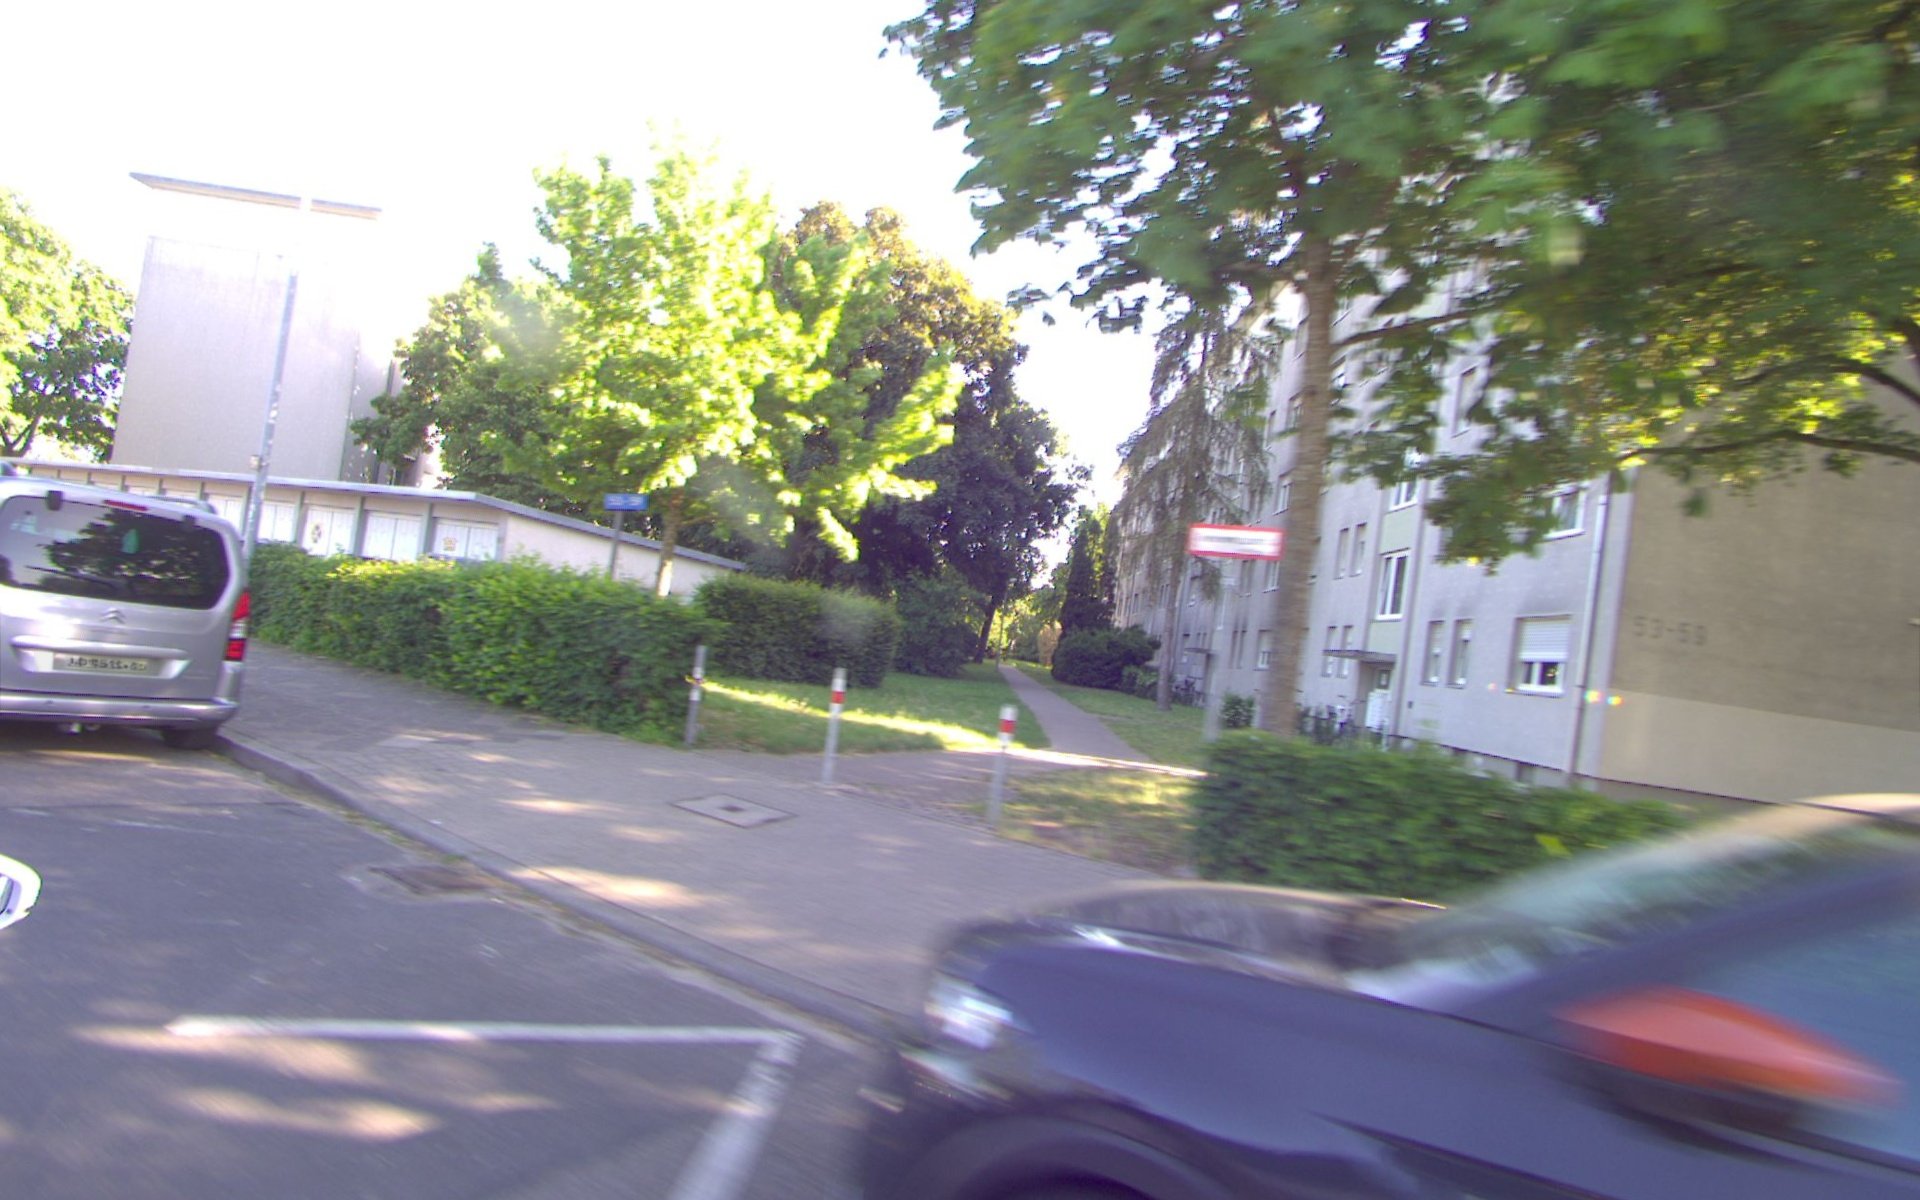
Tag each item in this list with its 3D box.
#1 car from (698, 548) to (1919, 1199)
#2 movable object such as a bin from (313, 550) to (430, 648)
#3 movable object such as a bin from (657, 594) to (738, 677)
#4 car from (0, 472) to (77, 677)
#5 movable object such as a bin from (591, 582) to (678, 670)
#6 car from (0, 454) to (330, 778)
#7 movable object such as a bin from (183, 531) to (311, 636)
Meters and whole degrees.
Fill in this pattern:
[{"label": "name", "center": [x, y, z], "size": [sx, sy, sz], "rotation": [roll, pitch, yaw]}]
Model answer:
[{"label": "car", "center": [1.685, 1.014, 1.710], "size": [3.957, 1.610, 1.810], "rotation": [7, -4, 32]}, {"label": "movable object such as a bin", "center": [-9.422, -0.011, 16.123], "size": [1.039, 1.362, 1.248], "rotation": [5, -3, 43]}, {"label": "movable object such as a bin", "center": [-5.044, 0.684, 19.342], "size": [0.821, 1.433, 1.076], "rotation": [5, -3, 38]}, {"label": "car", "center": [-11.334, -0.605, 10.209], "size": [5.186, 1.859, 1.913], "rotation": [8, -4, 32]}, {"label": "movable object such as a bin", "center": [-5.878, 0.479, 18.179], "size": [0.821, 1.433, 1.076], "rotation": [5, -3, 38]}, {"label": "car", "center": [-6.932, -0.052, 7.430], "size": [4.479, 1.810, 1.839], "rotation": [8, -4, 31]}, {"label": "movable object such as a bin", "center": [-10.629, -0.244, 15.012], "size": [1.039, 1.362, 1.248], "rotation": [5, -3, 43]}]
